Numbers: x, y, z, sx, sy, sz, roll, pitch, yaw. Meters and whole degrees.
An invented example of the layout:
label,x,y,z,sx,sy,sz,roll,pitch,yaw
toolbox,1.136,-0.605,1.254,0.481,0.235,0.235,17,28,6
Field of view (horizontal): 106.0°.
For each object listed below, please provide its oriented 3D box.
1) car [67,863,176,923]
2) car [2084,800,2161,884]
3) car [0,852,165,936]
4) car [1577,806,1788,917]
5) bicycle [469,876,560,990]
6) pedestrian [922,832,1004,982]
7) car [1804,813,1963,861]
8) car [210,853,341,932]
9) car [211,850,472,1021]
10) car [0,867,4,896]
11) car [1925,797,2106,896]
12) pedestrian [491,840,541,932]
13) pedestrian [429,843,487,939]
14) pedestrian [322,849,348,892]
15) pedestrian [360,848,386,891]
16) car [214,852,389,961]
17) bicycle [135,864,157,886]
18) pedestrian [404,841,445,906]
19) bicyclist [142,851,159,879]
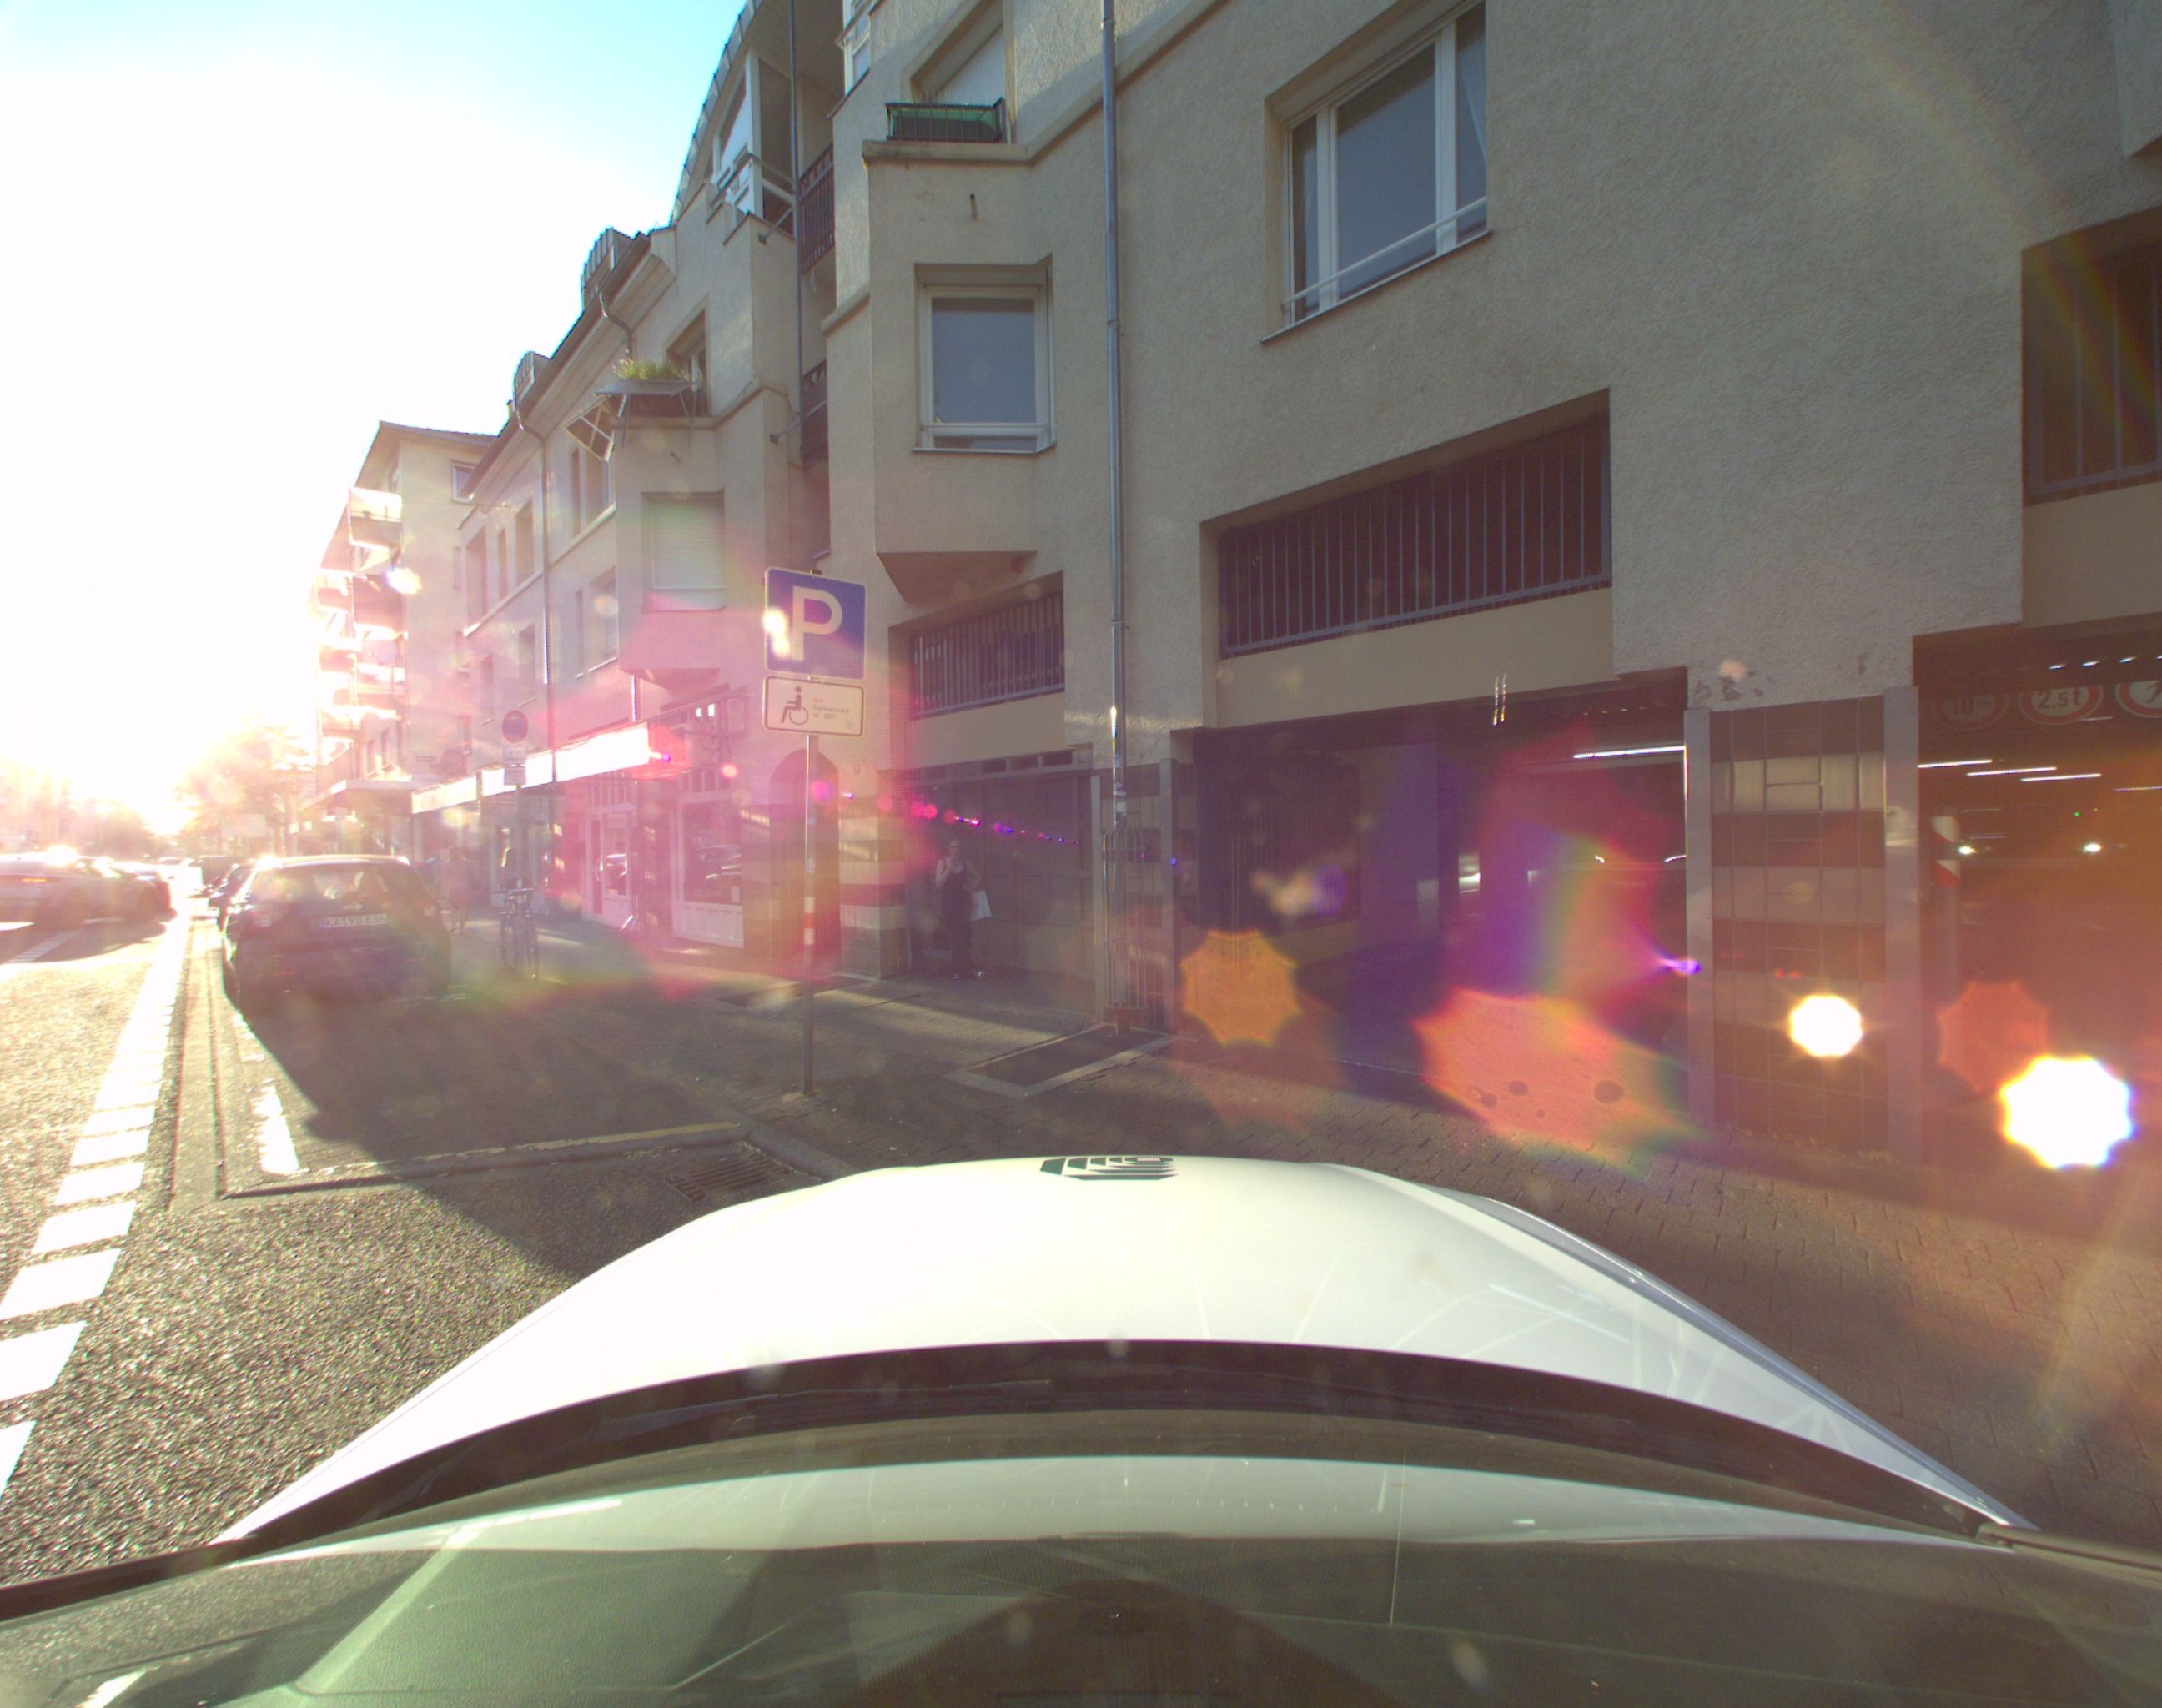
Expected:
label,x,y,z,sx,sy,sz,roll,pitch,yaw
car,-28.856,1.095,24.608,4.348,1.604,2.012,0,0,42
car,22.845,-0.313,17.028,1.540,1.617,3.906,-1,2,39
car,-22.850,0.809,18.170,1.884,1.697,4.280,0,0,-30
car,10.210,0.044,13.707,4.272,1.572,1.798,-3,1,-39
bicycle,-6.953,0.908,9.949,0.563,1.206,1.953,-2,1,-45
pedestrian,-1.295,0.550,8.927,0.778,1.572,0.530,-1,1,-20
car,25.599,-0.560,26.172,1.595,1.391,3.889,-2,2,7
car,-18.412,0.800,18.571,3.739,1.580,1.806,0,1,41
car,-8.881,0.775,9.675,3.916,1.580,1.806,0,1,41
car,-56.756,1.385,41.010,3.441,1.454,1.689,0,0,12
car,17.650,-0.182,15.591,1.868,1.624,4.326,0,1,43
pedestrian,-10.804,0.586,15.568,0.821,1.700,0.565,-1,1,42
pedestrian,-11.516,0.661,15.049,1.027,1.700,0.636,-1,1,42
pedestrian,-31.904,0.687,34.829,0.658,1.791,0.725,-1,2,43
pedestrian,-30.478,0.668,35.037,0.658,1.791,0.725,-1,2,43
car,-13.511,0.789,14.053,3.739,1.580,1.806,0,1,41
bicycle,-54.445,1.208,47.419,0.669,1.243,2.104,1,-1,-44
pedestrian,-17.944,0.513,22.260,0.728,1.733,0.725,-1,1,43
bicyclist,-54.508,0.639,47.720,0.552,1.580,0.793,-2,1,-44
